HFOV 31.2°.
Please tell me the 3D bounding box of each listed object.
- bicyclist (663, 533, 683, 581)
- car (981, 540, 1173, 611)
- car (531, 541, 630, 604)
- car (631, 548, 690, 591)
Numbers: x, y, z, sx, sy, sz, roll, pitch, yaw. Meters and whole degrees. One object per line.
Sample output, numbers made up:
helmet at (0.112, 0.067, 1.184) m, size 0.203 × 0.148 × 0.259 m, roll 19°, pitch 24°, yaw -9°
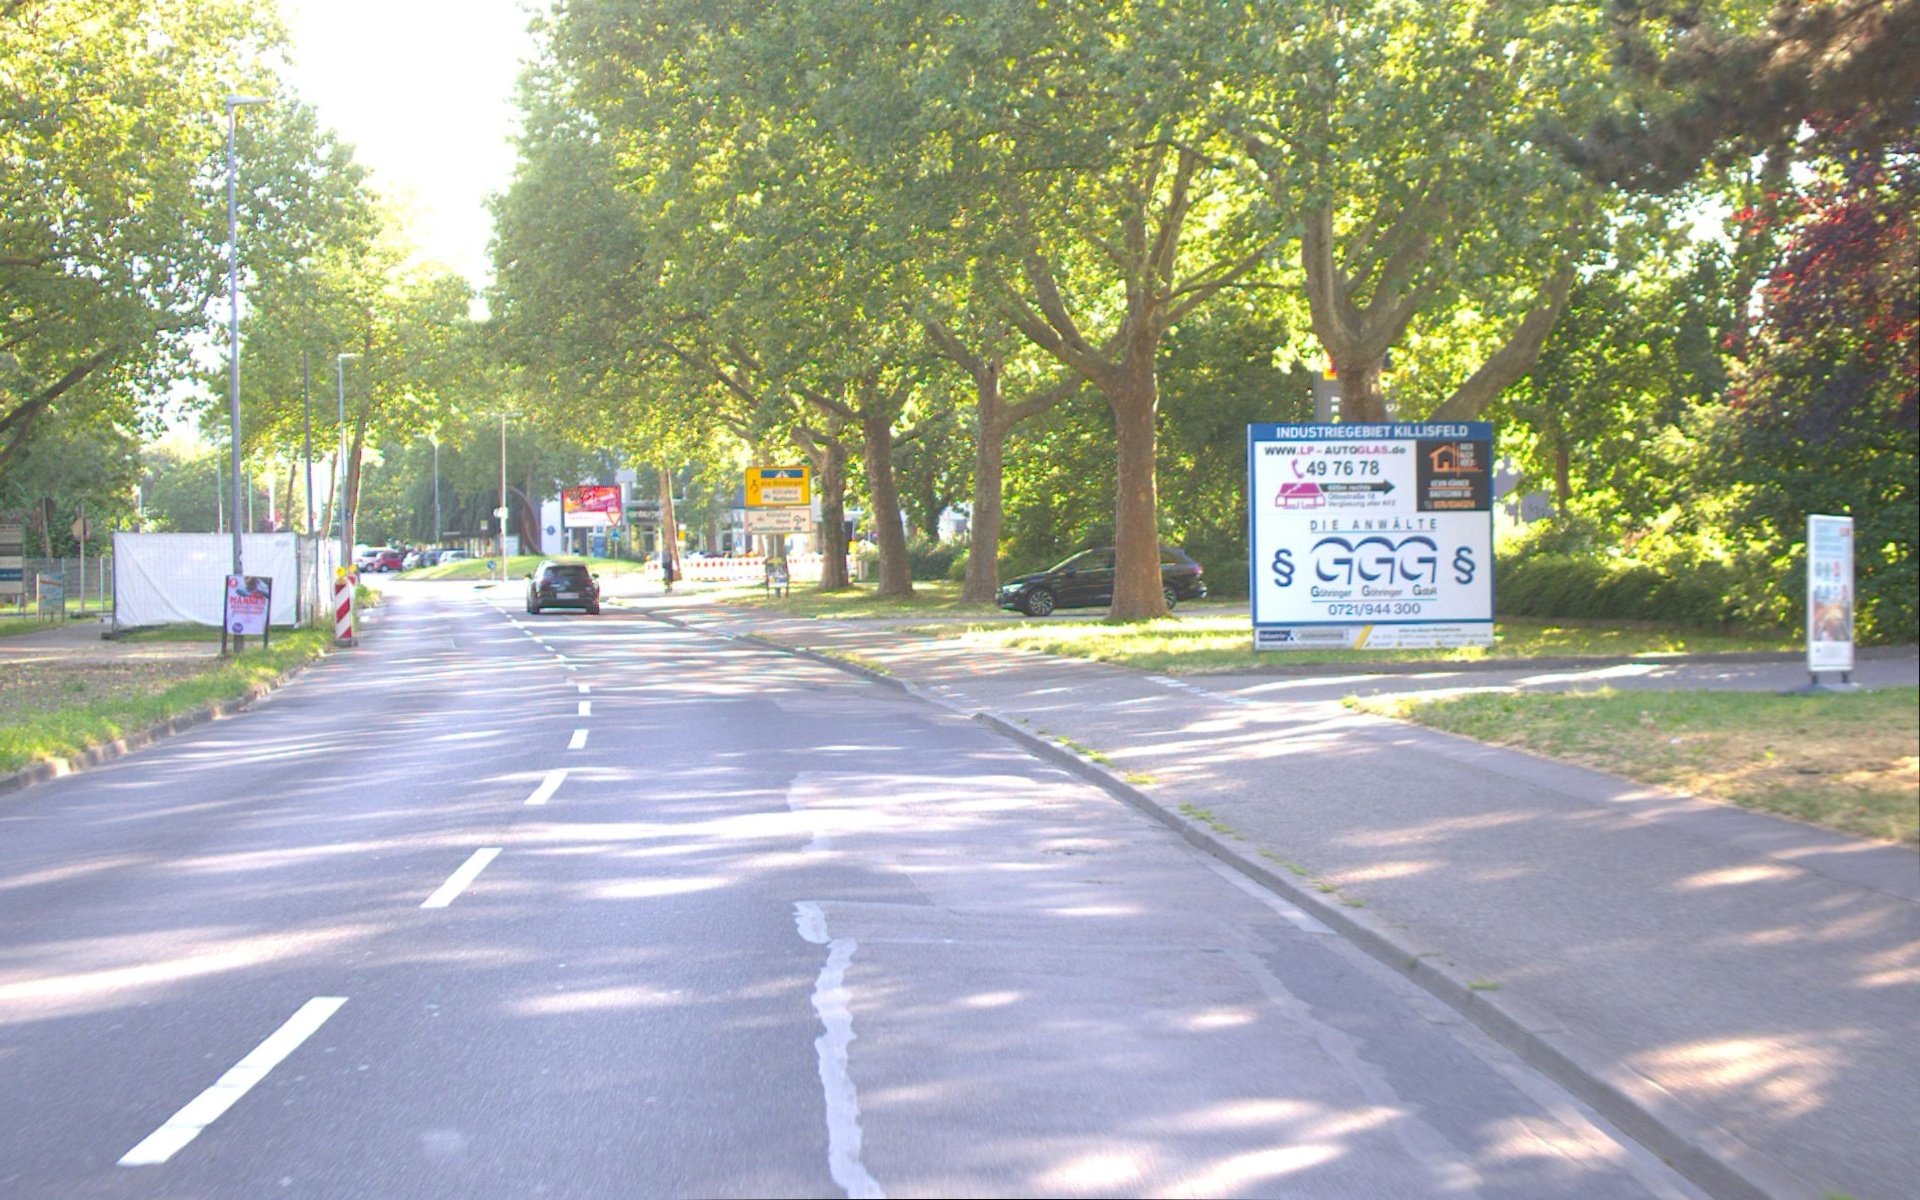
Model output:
bicyclist at (-10.345, -1.557, 123.986) m, size 0.650 × 1.699 × 0.871 m, roll 1°, pitch 1°, yaw -8°
car at (2.546, -0.546, 75.302) m, size 3.986 × 1.438 × 1.761 m, roll -2°, pitch 1°, yaw -5°
car at (-10.057, -0.748, 91.421) m, size 1.840 × 1.600 × 3.862 m, roll -1°, pitch 1°, yaw 6°
car at (-14.449, -1.477, 166.091) m, size 1.994 × 2.007 × 3.999 m, roll 0°, pitch 1°, yaw 8°
